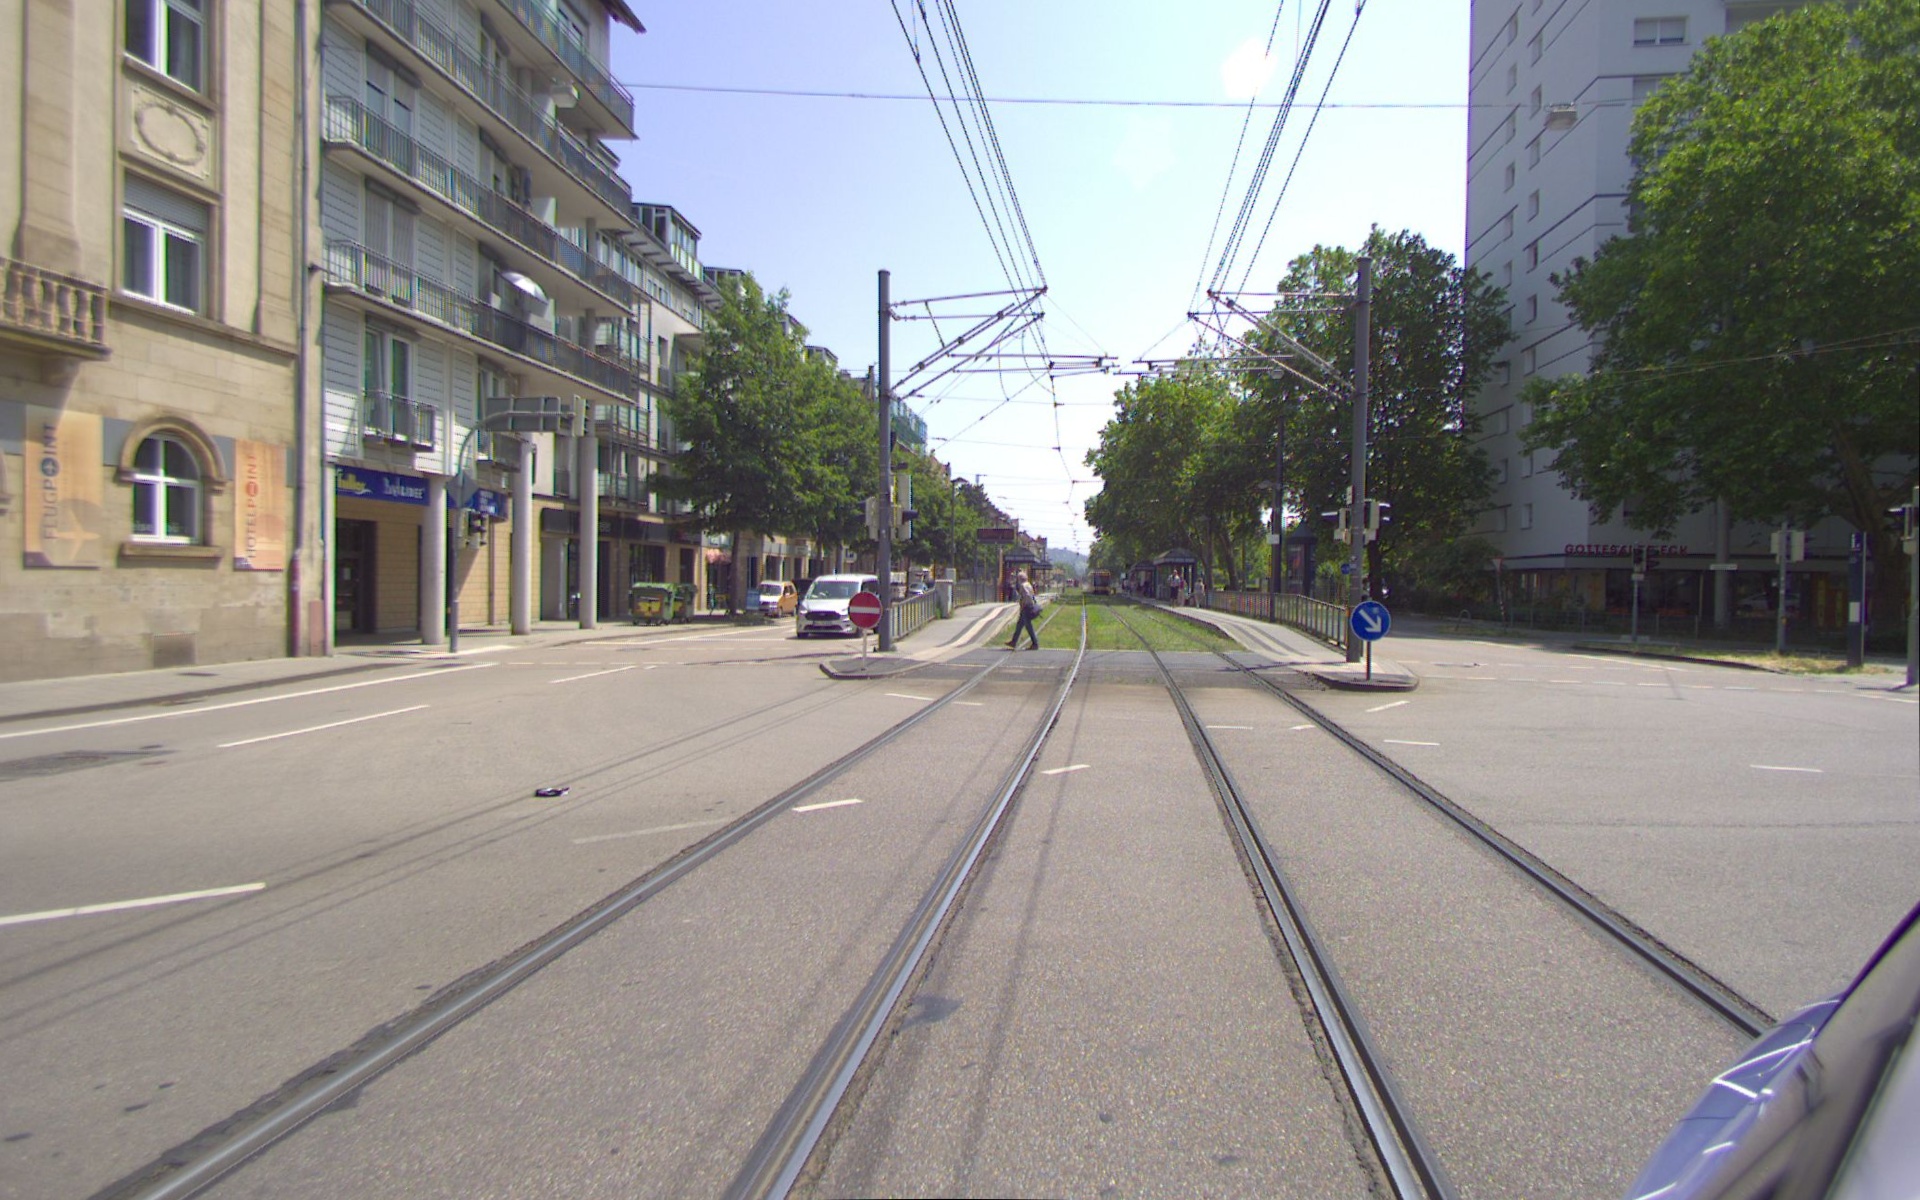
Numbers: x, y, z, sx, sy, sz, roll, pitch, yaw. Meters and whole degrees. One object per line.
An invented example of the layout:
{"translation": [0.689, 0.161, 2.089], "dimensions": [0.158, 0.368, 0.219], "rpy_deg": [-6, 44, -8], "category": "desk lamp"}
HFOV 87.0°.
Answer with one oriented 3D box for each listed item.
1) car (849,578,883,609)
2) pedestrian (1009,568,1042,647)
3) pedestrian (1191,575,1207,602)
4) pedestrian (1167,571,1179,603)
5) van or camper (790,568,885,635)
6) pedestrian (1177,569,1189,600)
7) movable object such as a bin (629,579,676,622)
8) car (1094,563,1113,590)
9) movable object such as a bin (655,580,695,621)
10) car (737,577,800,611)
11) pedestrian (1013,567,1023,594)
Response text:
{"translation": [-6.430, -0.452, 69.489], "dimensions": [1.962, 2.038, 4.001], "rpy_deg": [0, 1, 0], "category": "car"}
{"translation": [1.456, 0.162, 22.402], "dimensions": [0.669, 1.726, 0.552], "rpy_deg": [0, 1, 10], "category": "pedestrian"}
{"translation": [11.887, -0.582, 50.328], "dimensions": [0.668, 1.366, 0.631], "rpy_deg": [0, 1, 6], "category": "pedestrian"}
{"translation": [10.599, -0.654, 50.377], "dimensions": [0.544, 1.626, 0.679], "rpy_deg": [0, 1, 6], "category": "pedestrian"}
{"translation": [-3.433, -0.010, 29.248], "dimensions": [1.737, 1.780, 4.586], "rpy_deg": [0, 1, 6], "category": "van or camper"}
{"translation": [11.489, -0.799, 52.070], "dimensions": [0.538, 1.600, 0.514], "rpy_deg": [0, 1, 6], "category": "pedestrian"}
{"translation": [-10.500, -0.004, 34.592], "dimensions": [1.195, 1.454, 1.005], "rpy_deg": [0, 1, 10], "category": "movable object such as a bin"}
{"translation": [18.789, -3.039, 133.088], "dimensions": [2.238, 3.380, 12.011], "rpy_deg": [1, 1, 7], "category": "car"}
{"translation": [-10.346, 0.014, 36.769], "dimensions": [1.192, 1.454, 1.008], "rpy_deg": [0, 1, 1], "category": "movable object such as a bin"}
{"translation": [-9.041, -0.320, 48.083], "dimensions": [1.964, 1.550, 3.997], "rpy_deg": [0, 1, 4], "category": "car"}
{"translation": [3.566, -1.209, 62.238], "dimensions": [0.541, 1.626, 0.553], "rpy_deg": [0, 1, 7], "category": "pedestrian"}
